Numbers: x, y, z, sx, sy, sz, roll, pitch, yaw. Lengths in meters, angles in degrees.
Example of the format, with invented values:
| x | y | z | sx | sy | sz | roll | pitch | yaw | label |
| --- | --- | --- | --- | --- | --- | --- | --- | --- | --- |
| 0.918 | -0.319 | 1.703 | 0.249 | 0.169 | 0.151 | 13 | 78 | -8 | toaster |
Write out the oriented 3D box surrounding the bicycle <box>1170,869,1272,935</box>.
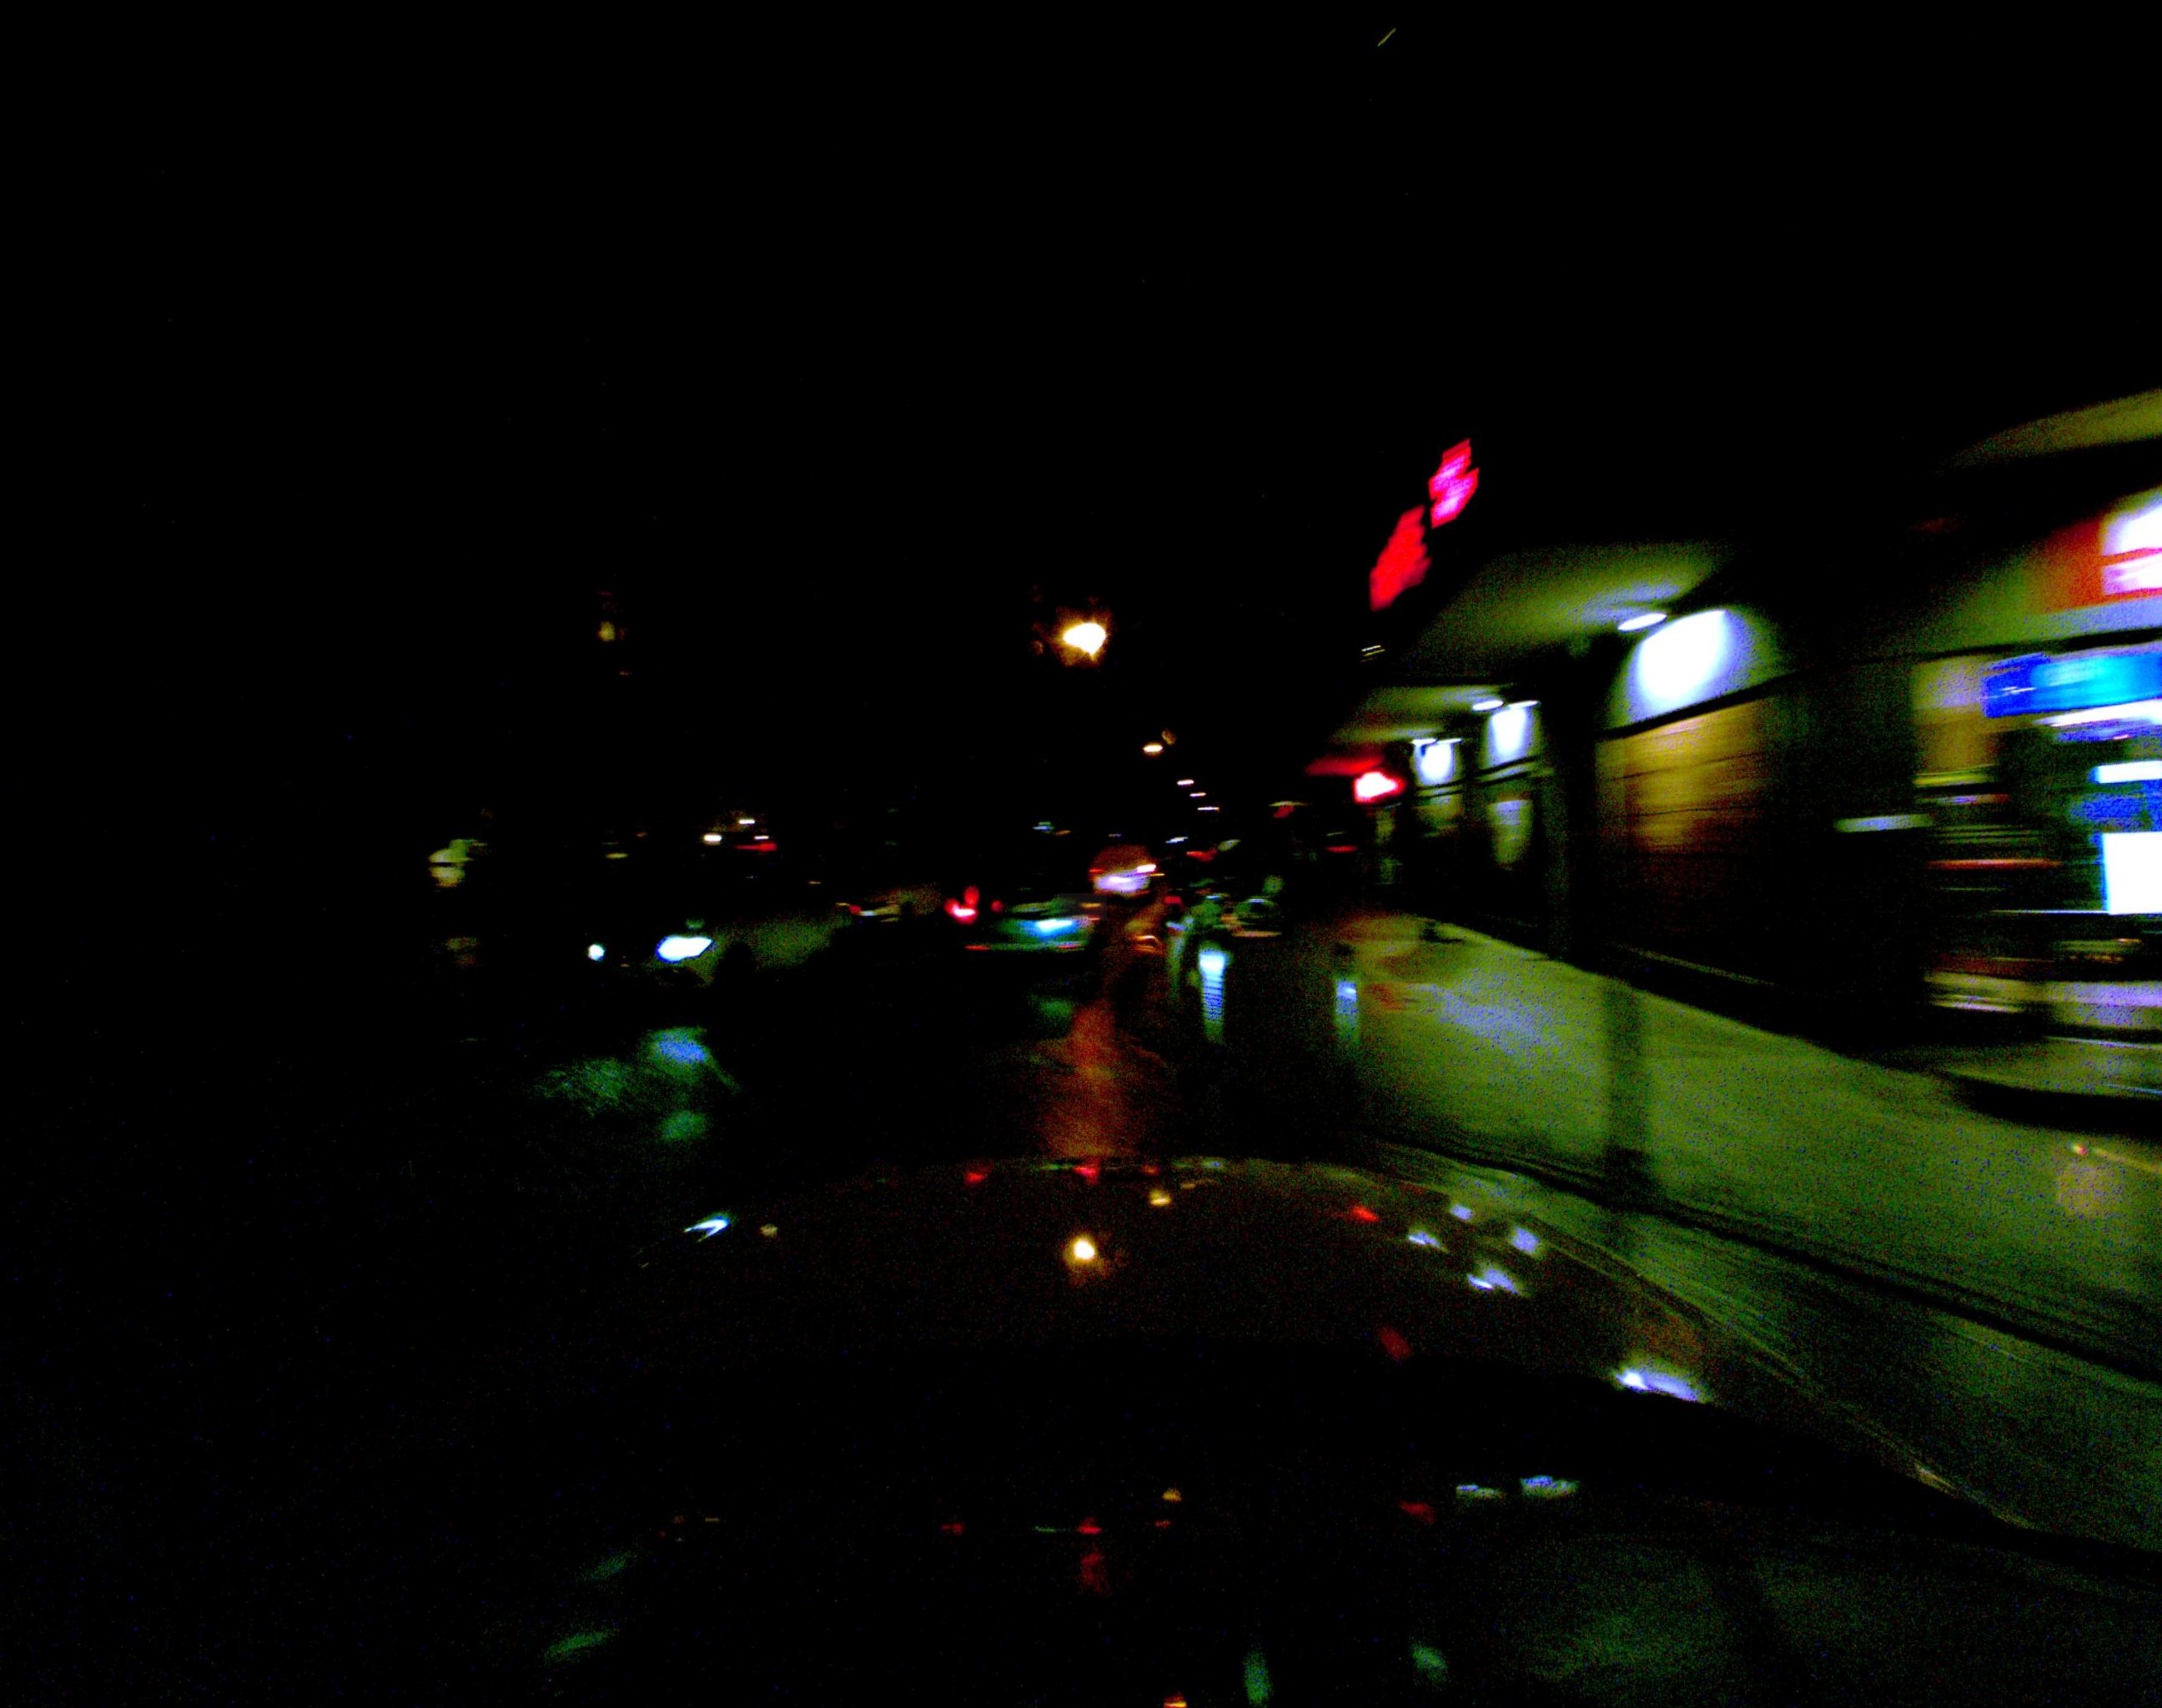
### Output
| x | y | z | sx | sy | sz | roll | pitch | yaw | label |
| --- | --- | --- | --- | --- | --- | --- | --- | --- | --- |
| 2.560 | 0.884 | 14.954 | 1.772 | 1.125 | 0.437 | -2 | 0 | 8 | bicycle |

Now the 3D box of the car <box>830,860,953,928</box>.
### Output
| x | y | z | sx | sy | sz | roll | pitch | yaw | label |
| --- | --- | --- | --- | --- | --- | --- | --- | --- | --- |
| -4.779 | 0.957 | 21.164 | 1.576 | 1.463 | 4.036 | 1 | 1 | 11 | car |

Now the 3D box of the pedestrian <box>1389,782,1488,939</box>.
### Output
| x | y | z | sx | sy | sz | roll | pitch | yaw | label |
| --- | --- | --- | --- | --- | --- | --- | --- | --- | --- |
| 5.286 | 0.098 | 12.133 | 1.047 | 2.208 | 0.973 | -3 | -1 | 10 | pedestrian |

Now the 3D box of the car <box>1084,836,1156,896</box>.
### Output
| x | y | z | sx | sy | sz | roll | pitch | yaw | label |
| --- | --- | --- | --- | --- | --- | --- | --- | --- | --- |
| 1.479 | 0.345 | 28.874 | 2.111 | 1.922 | 4.836 | -1 | 1 | 7 | car |

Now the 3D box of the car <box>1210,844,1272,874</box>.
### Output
| x | y | z | sx | sy | sz | roll | pitch | yaw | label |
| --- | --- | --- | --- | --- | --- | --- | --- | --- | --- |
| 11.647 | 0.397 | 59.529 | 3.982 | 2.014 | 1.996 | -2 | -1 | -6 | car |

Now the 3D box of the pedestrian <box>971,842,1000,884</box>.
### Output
| x | y | z | sx | sy | sz | roll | pitch | yaw | label |
| --- | --- | --- | --- | --- | --- | --- | --- | --- | --- |
| -4.319 | 0.394 | 36.823 | 1.025 | 1.864 | 0.980 | 0 | 0 | 11 | pedestrian |

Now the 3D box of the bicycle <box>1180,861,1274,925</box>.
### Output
| x | y | z | sx | sy | sz | roll | pitch | yaw | label |
| --- | --- | --- | --- | --- | --- | --- | --- | --- | --- |
| 2.937 | 0.782 | 16.421 | 1.752 | 1.125 | 0.437 | -5 | 0 | 8 | bicycle |

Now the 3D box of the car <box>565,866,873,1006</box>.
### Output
| x | y | z | sx | sy | sz | roll | pitch | yaw | label |
| --- | --- | --- | --- | --- | --- | --- | --- | --- | --- |
| -4.670 | 0.980 | 11.252 | 1.551 | 1.427 | 4.087 | -3 | 0 | 16 | car |

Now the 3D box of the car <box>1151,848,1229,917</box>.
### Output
| x | y | z | sx | sy | sz | roll | pitch | yaw | label |
| --- | --- | --- | --- | --- | --- | --- | --- | --- | --- |
| 2.809 | 0.664 | 20.552 | 1.742 | 1.565 | 4.165 | -1 | 0 | 9 | car |

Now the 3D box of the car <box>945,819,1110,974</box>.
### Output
| x | y | z | sx | sy | sz | roll | pitch | yaw | label |
| --- | --- | --- | --- | --- | --- | --- | --- | --- | --- |
| -0.702 | 0.536 | 12.991 | 2.116 | 1.991 | 4.600 | -1 | 0 | 0 | car |

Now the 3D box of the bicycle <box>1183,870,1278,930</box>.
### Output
| x | y | z | sx | sy | sz | roll | pitch | yaw | label |
| --- | --- | --- | --- | --- | --- | --- | --- | --- | --- |
| 2.900 | 0.893 | 15.859 | 1.752 | 1.079 | 0.437 | -2 | 0 | 8 | bicycle |

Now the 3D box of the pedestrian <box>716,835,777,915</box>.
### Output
| x | y | z | sx | sy | sz | roll | pitch | yaw | label |
| --- | --- | --- | --- | --- | --- | --- | --- | --- | --- |
| -7.576 | 0.453 | 18.492 | 0.797 | 1.766 | 1.020 | 0 | 0 | 16 | pedestrian |

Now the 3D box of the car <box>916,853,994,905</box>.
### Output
| x | y | z | sx | sy | sz | roll | pitch | yaw | label |
| --- | --- | --- | --- | --- | --- | --- | --- | --- | --- |
| -3.940 | 0.741 | 25.847 | 1.576 | 1.510 | 2.796 | -1 | 1 | 11 | car |
